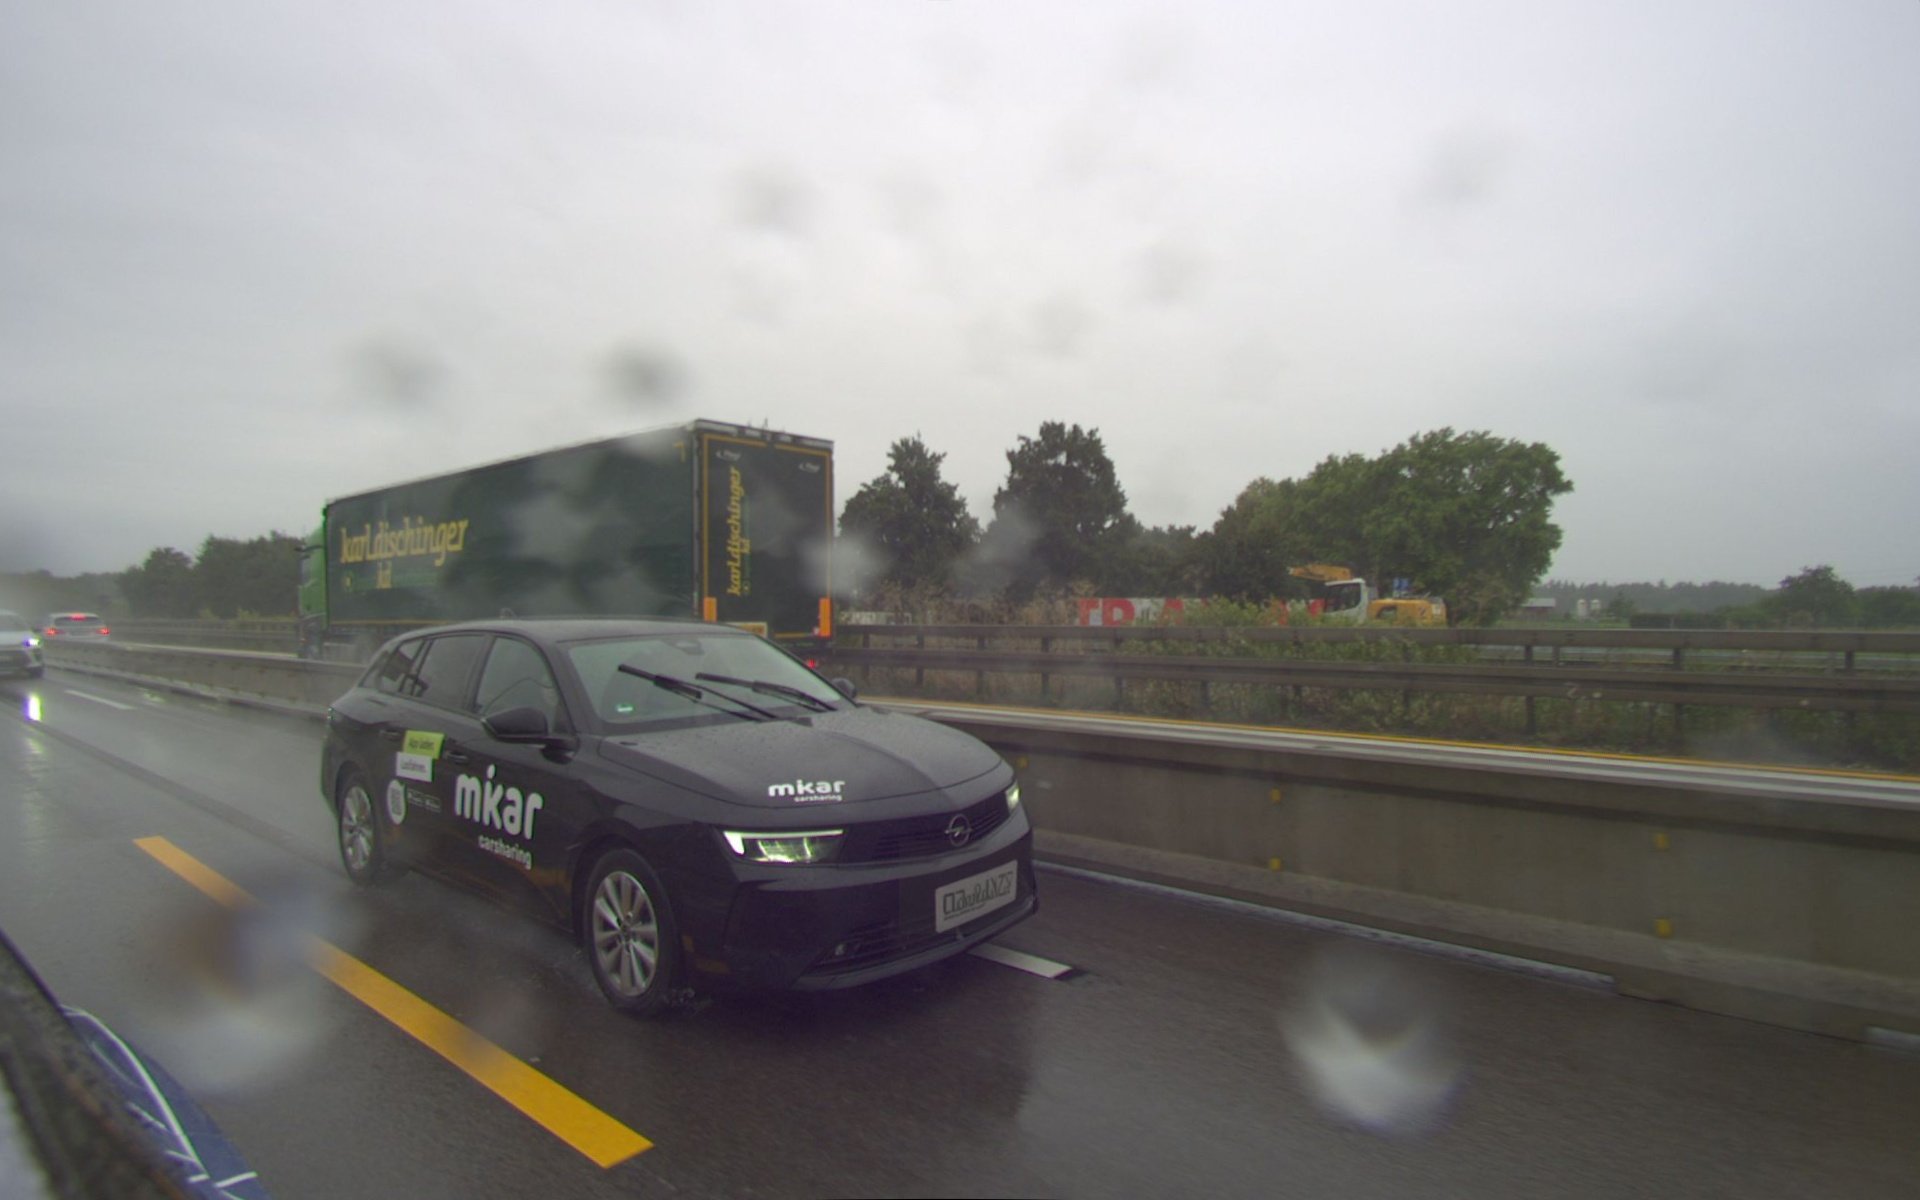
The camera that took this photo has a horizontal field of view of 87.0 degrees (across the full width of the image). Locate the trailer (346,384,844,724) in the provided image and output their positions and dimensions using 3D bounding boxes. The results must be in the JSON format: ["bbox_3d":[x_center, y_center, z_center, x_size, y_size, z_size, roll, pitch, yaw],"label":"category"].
[{"bbox_3d":[-7.665,-0.509,18.801,13.547,4.491,2.554,-1,-1,42],"label":"trailer"}]

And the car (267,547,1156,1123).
[{"bbox_3d":[-1.620,0.656,5.029,4.794,1.539,1.918,-1,0,42],"label":"car"}]

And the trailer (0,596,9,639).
[{"bbox_3d":[-78.726,1.426,81.198,9.709,3.388,2.634,-1,-1,41],"label":"trailer"}]

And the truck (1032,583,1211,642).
[{"bbox_3d":[7.860,0.649,50.447,8.899,2.724,2.488,-1,-1,42],"label":"truck"}]

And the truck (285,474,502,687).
[{"bbox_3d":[-13.594,-0.363,24.082,6.287,4.422,2.581,-1,-1,41],"label":"truck"}]

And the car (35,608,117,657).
[{"bbox_3d":[-32.028,1.136,36.632,4.319,1.610,1.683,1,0,41],"label":"car"}]

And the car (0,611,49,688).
[{"bbox_3d":[-23.532,1.149,24.159,3.994,1.693,1.948,1,0,37],"label":"car"}]

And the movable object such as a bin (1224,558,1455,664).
[{"bbox_3d":[15.347,0.381,41.453,8.459,3.949,2.701,1,0,41],"label":"movable object such as a bin"}]

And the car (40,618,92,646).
[{"bbox_3d":[-48.799,1.723,55.209,3.890,1.446,1.553,-1,-1,40],"label":"car"}]
